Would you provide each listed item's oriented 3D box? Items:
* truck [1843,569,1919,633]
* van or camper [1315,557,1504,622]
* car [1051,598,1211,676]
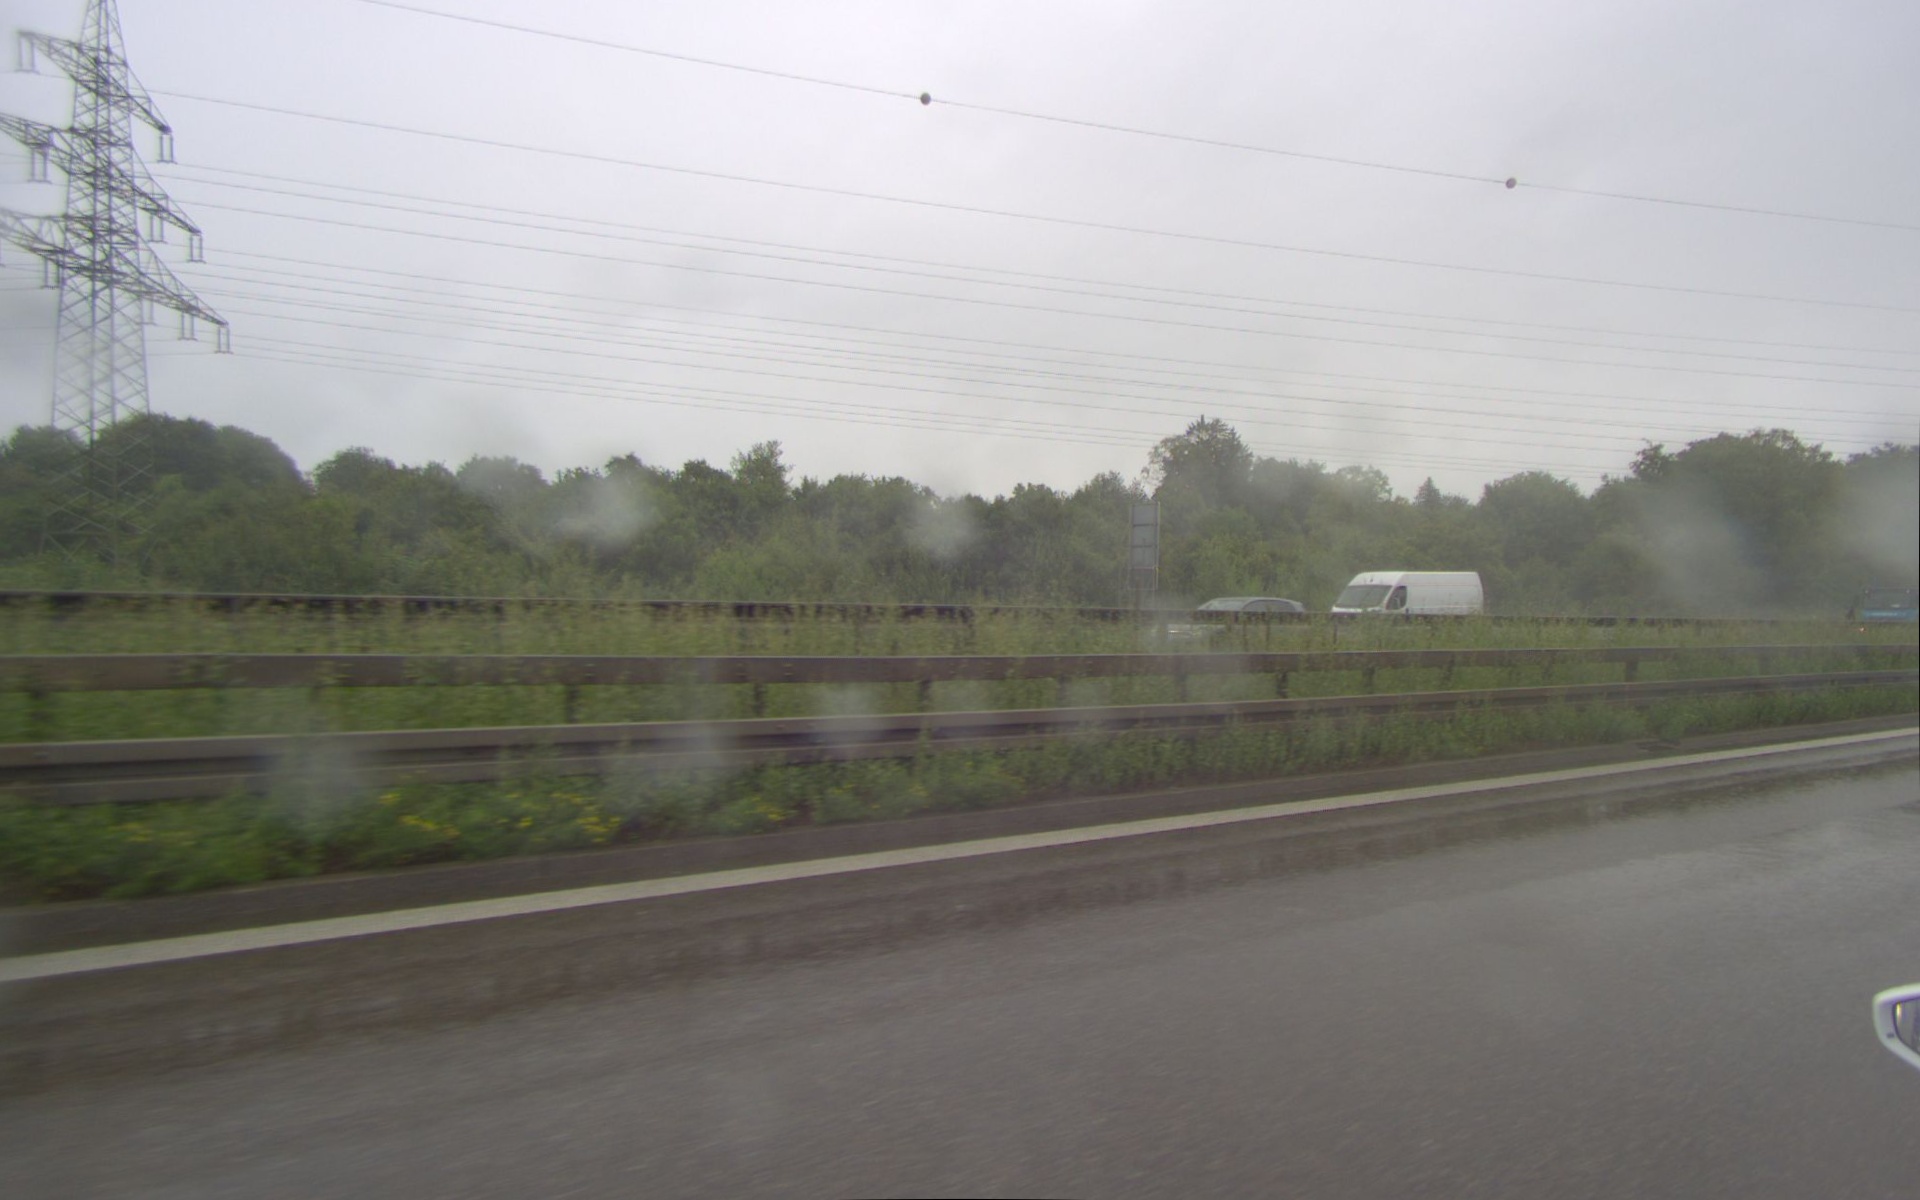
[{"bbox_3d":[53.521,0.061,56.888,7.307,3.321,3.052,1,3,-31],"label":"truck"},{"bbox_3d":[15.099,-0.323,33.627,6.680,1.999,2.266,1,3,-30],"label":"van or camper"},{"bbox_3d":[3.591,0.763,21.023,3.219,1.523,1.300,1,-2,-30],"label":"car"}]
